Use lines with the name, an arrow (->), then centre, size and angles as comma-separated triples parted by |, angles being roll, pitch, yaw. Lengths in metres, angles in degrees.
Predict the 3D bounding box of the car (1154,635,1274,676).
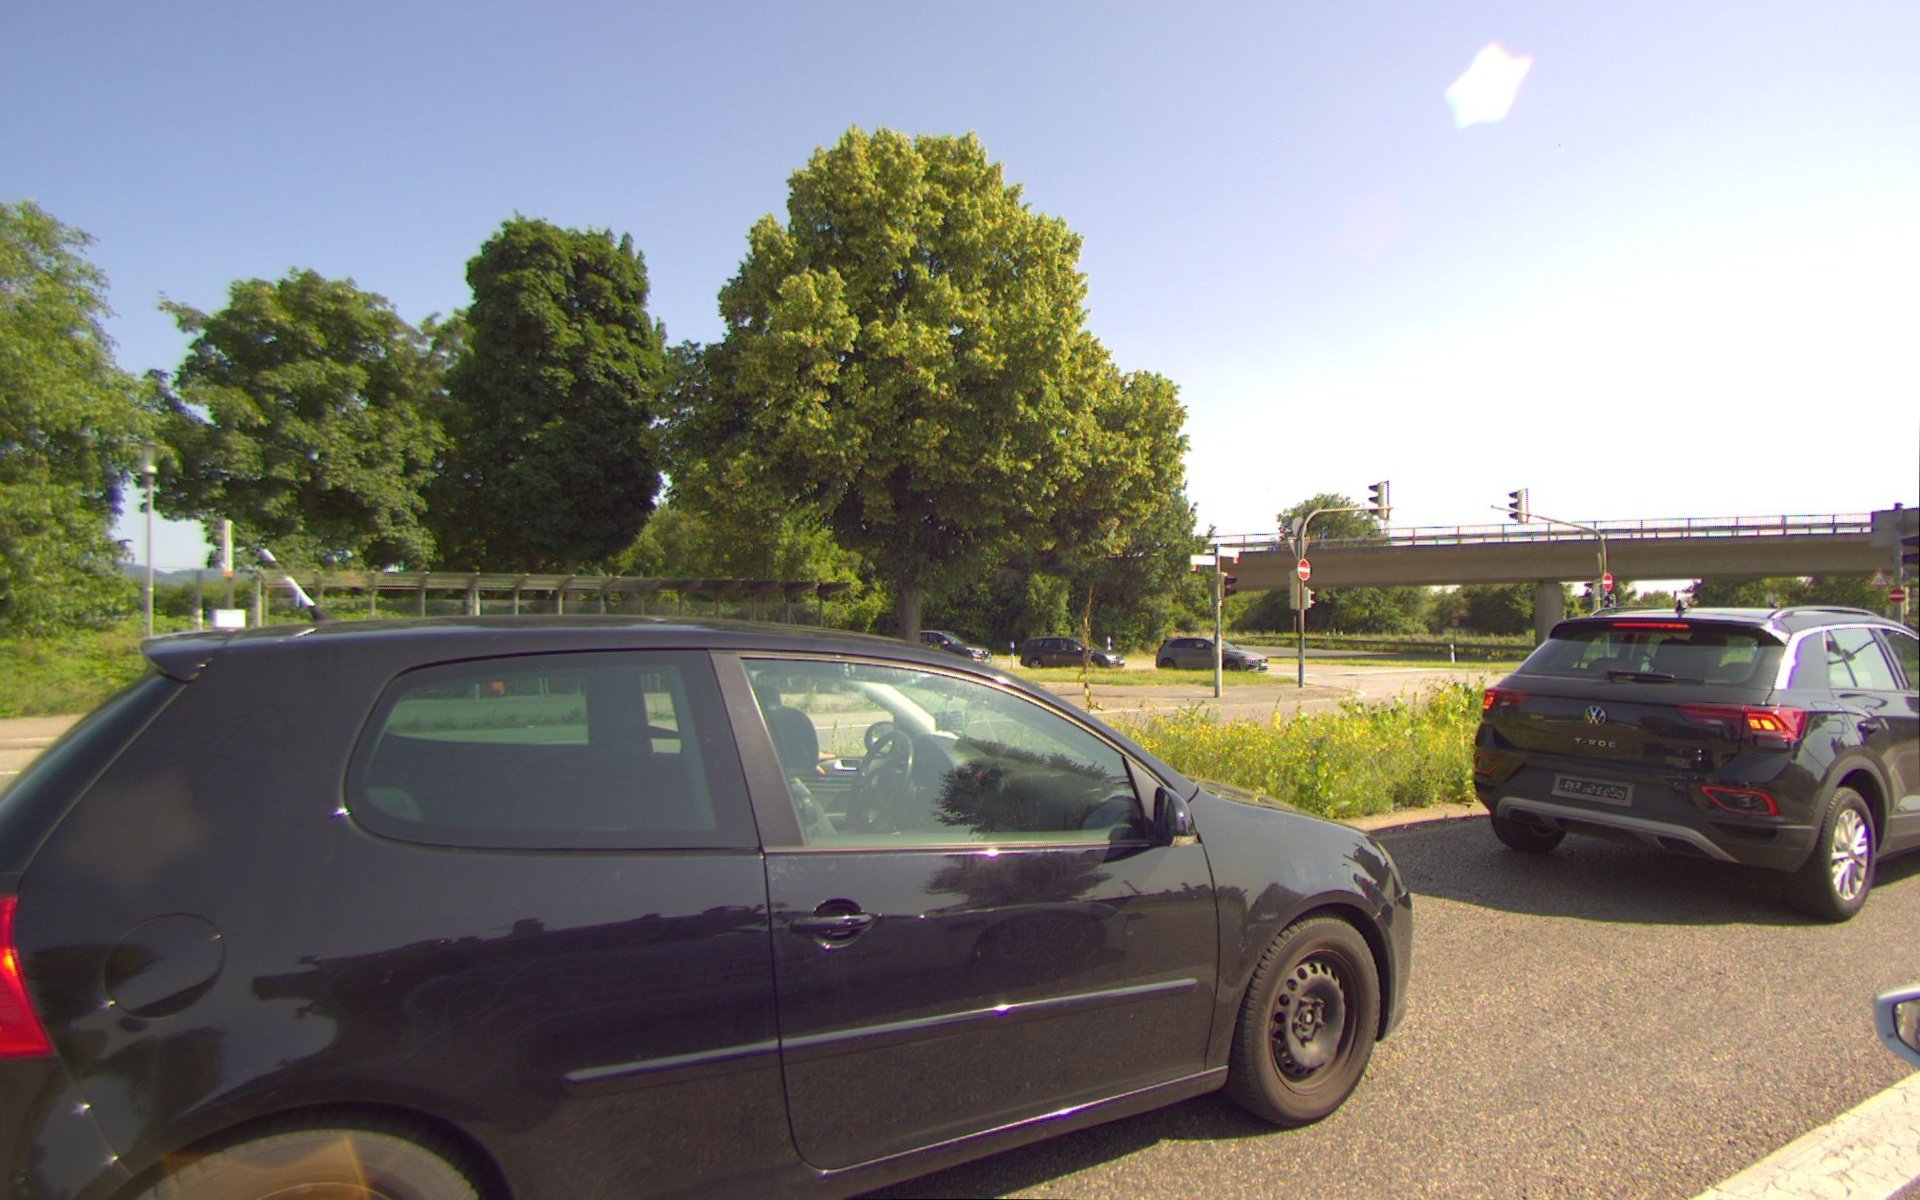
car -> 9.614, 2.077, 38.157 | 4.066, 1.443, 1.862 | -1, -2, 41

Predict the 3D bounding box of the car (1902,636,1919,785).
car -> 10.844, 1.026, 9.548 | 4.049, 1.352, 1.666 | 1, 0, -30

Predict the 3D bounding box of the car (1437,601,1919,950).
car -> 5.037, 0.815, 6.290 | 4.049, 1.568, 1.721 | 1, 0, -30

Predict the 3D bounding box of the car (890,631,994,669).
car -> -0.802, 2.158, 43.826 | 4.272, 1.616, 1.650 | -1, -2, 25

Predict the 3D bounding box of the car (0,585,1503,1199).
car -> -0.408, 0.747, 2.944 | 4.049, 1.494, 1.658 | 1, 0, -30

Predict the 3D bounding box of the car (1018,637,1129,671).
car -> 4.660, 2.199, 41.339 | 4.279, 1.297, 1.647 | -1, -2, 32
